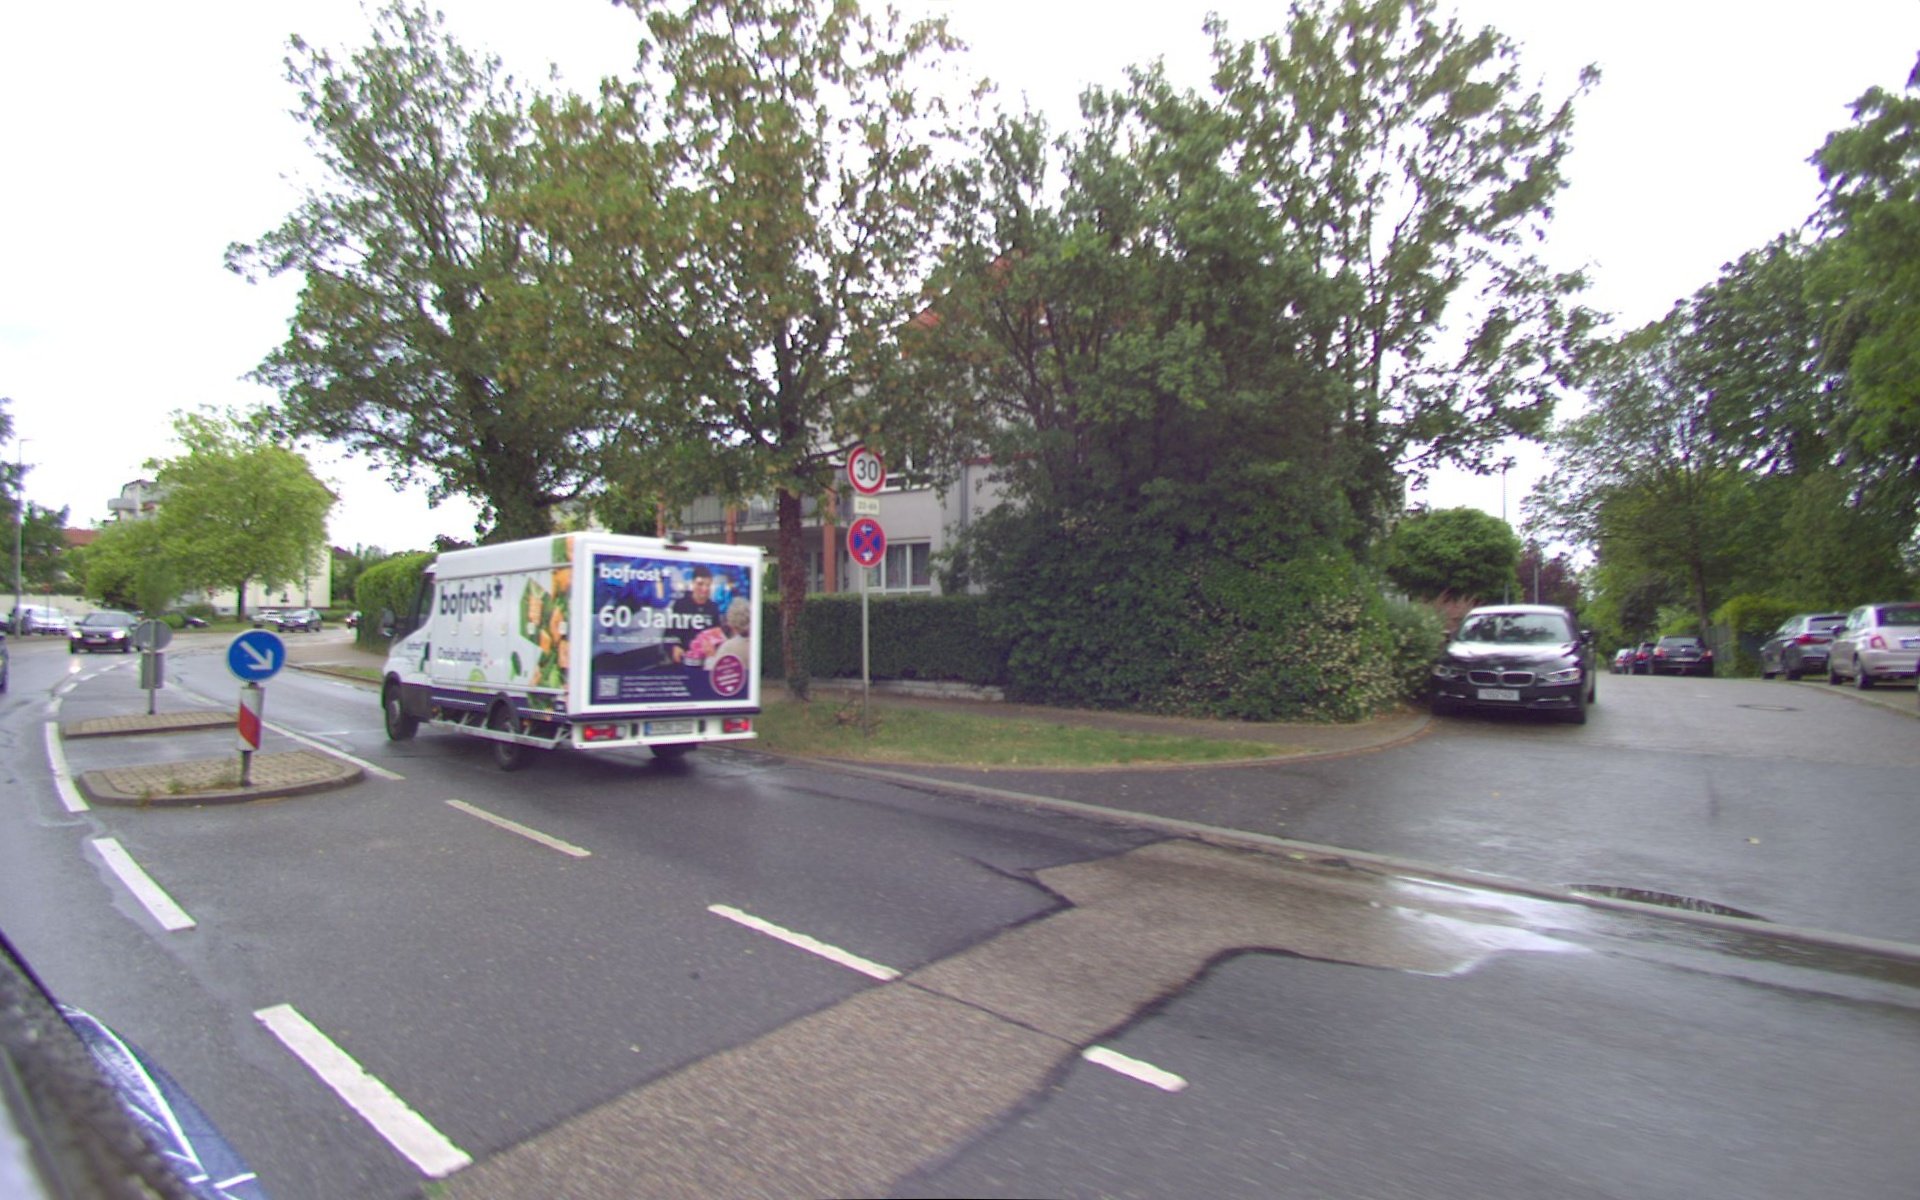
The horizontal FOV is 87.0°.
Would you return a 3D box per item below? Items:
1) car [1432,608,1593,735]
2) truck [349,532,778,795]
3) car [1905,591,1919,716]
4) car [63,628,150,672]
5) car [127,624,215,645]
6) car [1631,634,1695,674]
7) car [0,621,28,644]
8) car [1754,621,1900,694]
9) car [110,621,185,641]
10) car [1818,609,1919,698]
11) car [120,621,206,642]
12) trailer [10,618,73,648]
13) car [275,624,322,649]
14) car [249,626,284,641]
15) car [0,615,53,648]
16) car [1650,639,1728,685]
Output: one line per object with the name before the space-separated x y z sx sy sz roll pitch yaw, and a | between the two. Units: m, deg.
car | 7.667 0.885 13.980 1.687 1.485 3.986 -1 -2 31
truck | -4.878 0.625 11.647 2.192 2.220 6.467 1 -2 -45
car | 12.564 0.673 11.530 1.687 1.664 3.987 -4 -2 30
car | -31.344 1.801 37.274 1.810 1.460 4.012 0 -1 -30
car | -54.917 2.384 70.518 4.508 1.454 1.770 1 -1 -22
car | 27.535 2.177 39.743 1.687 1.425 3.986 -4 -6 30
car | -60.322 2.044 63.720 4.181 1.393 1.743 -1 -1 38
car | 19.018 1.253 22.381 1.687 1.425 3.986 -4 -4 30
car | -59.704 2.263 74.463 3.953 1.454 1.770 1 -1 -22
car | 16.786 0.908 17.917 1.687 1.425 3.986 -4 -4 30
car | -56.947 2.216 72.377 4.508 1.454 1.770 1 -1 -22
trailer | -51.075 1.810 56.248 4.421 1.554 1.974 -1 -1 39
car | -45.513 2.480 69.701 1.810 1.562 4.012 0 -1 -19
car | -70.085 3.406 102.269 3.762 1.492 1.725 -1 -2 36
car | -55.628 1.845 60.270 4.212 1.895 1.972 -1 -1 43
car | 24.592 2.125 34.268 1.687 1.425 3.986 -4 -6 30
